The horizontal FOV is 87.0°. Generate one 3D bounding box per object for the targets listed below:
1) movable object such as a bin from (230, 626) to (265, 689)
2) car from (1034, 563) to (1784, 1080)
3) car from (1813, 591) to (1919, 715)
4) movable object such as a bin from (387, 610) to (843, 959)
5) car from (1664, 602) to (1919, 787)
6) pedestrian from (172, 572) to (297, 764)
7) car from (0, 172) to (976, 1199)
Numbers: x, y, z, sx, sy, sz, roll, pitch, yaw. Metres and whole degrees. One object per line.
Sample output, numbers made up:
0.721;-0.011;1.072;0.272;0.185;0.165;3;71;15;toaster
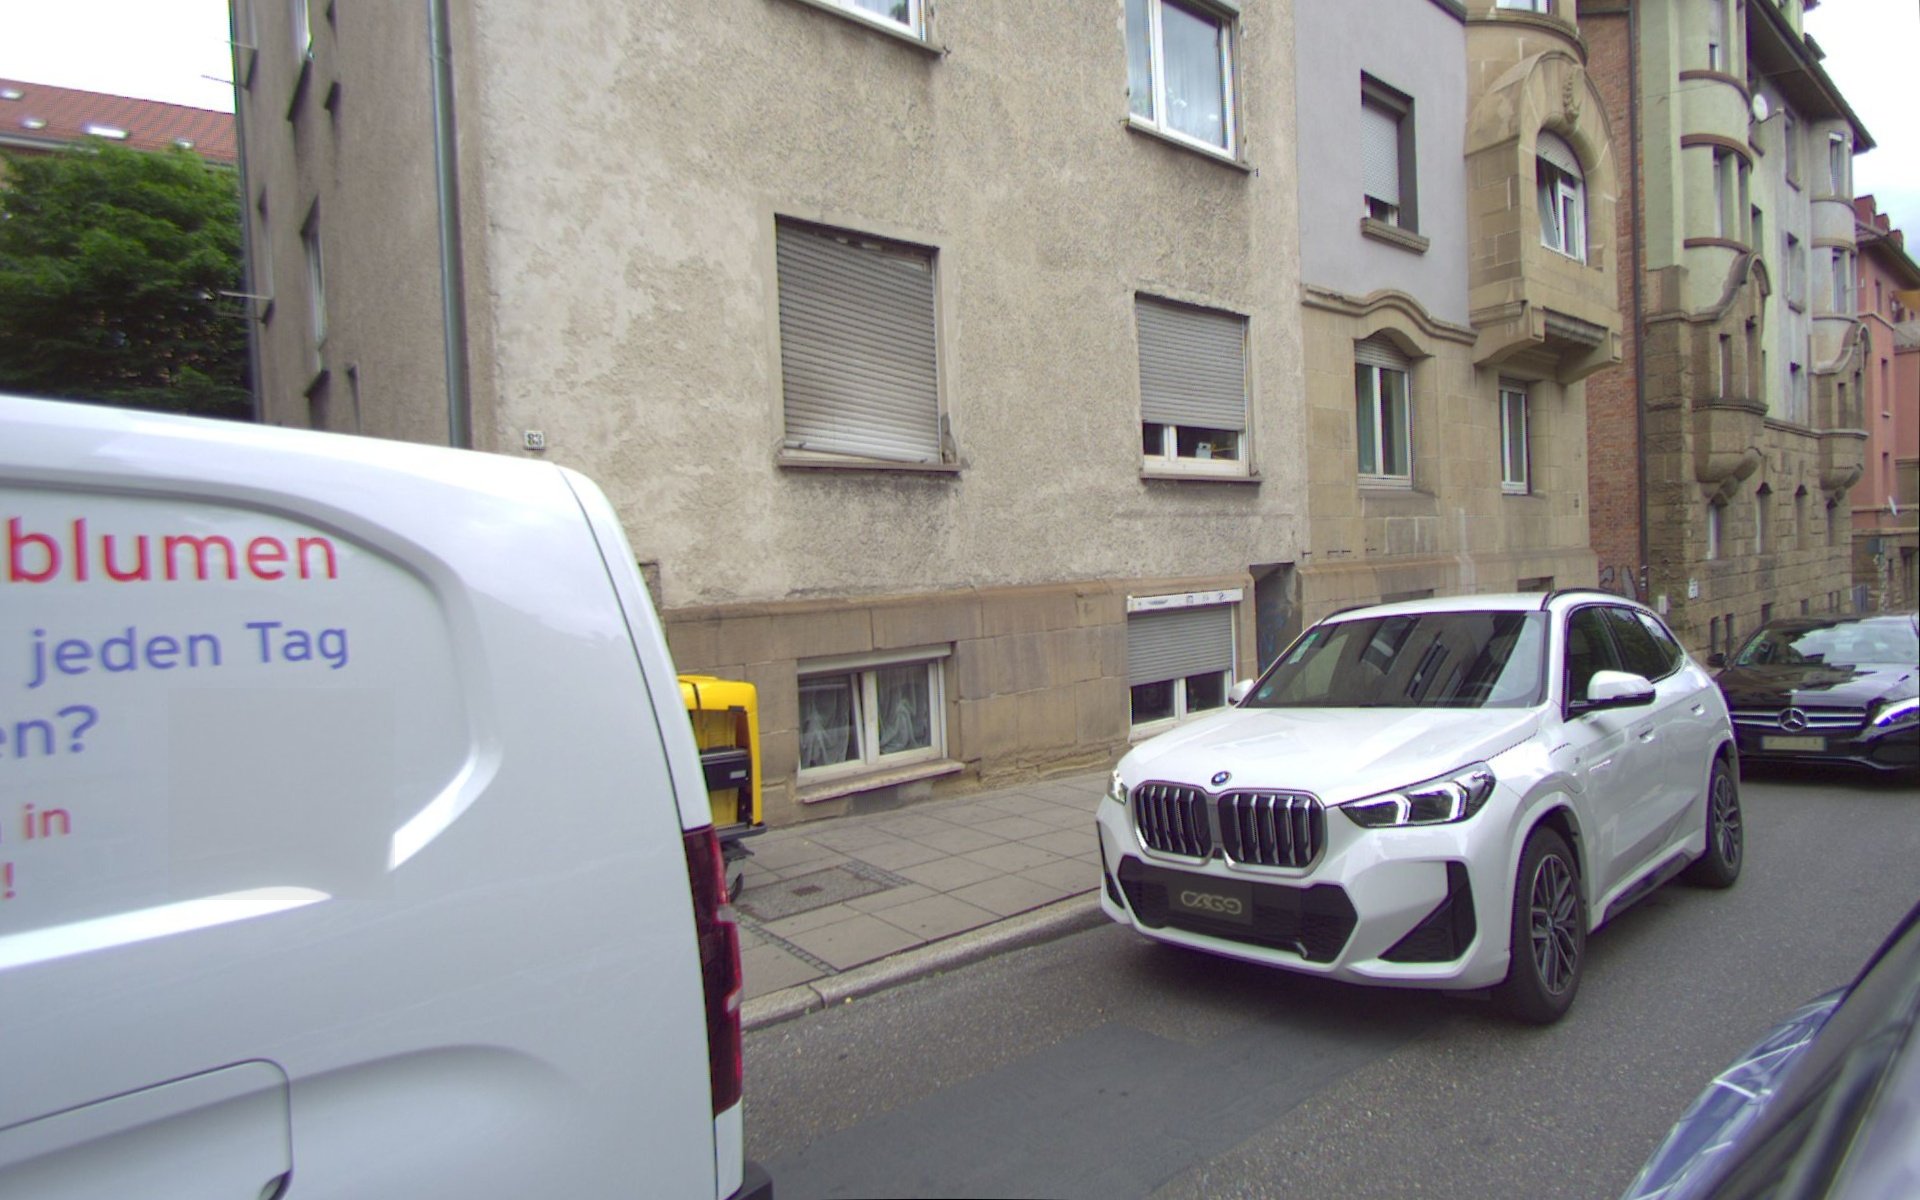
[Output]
-10.974;0.879;15.589;0.405;0.923;0.340;0;0;-40;movable object such as a bin
2.574;0.715;5.240;4.276;1.576;1.857;-1;-4;-41;car
13.505;0.636;13.892;4.226;1.534;1.935;-1;-3;-40;car
-1.785;0.788;5.377;1.979;1.391;1.223;-1;2;-43;movable object such as a bin
8.468;0.755;9.620;4.132;1.395;1.882;-1;-3;-41;car
-6.897;0.596;9.622;0.771;1.666;0.810;-7;5;-39;pedestrian
-2.344;0.554;0.925;4.597;1.798;1.977;-1;-3;-42;car
